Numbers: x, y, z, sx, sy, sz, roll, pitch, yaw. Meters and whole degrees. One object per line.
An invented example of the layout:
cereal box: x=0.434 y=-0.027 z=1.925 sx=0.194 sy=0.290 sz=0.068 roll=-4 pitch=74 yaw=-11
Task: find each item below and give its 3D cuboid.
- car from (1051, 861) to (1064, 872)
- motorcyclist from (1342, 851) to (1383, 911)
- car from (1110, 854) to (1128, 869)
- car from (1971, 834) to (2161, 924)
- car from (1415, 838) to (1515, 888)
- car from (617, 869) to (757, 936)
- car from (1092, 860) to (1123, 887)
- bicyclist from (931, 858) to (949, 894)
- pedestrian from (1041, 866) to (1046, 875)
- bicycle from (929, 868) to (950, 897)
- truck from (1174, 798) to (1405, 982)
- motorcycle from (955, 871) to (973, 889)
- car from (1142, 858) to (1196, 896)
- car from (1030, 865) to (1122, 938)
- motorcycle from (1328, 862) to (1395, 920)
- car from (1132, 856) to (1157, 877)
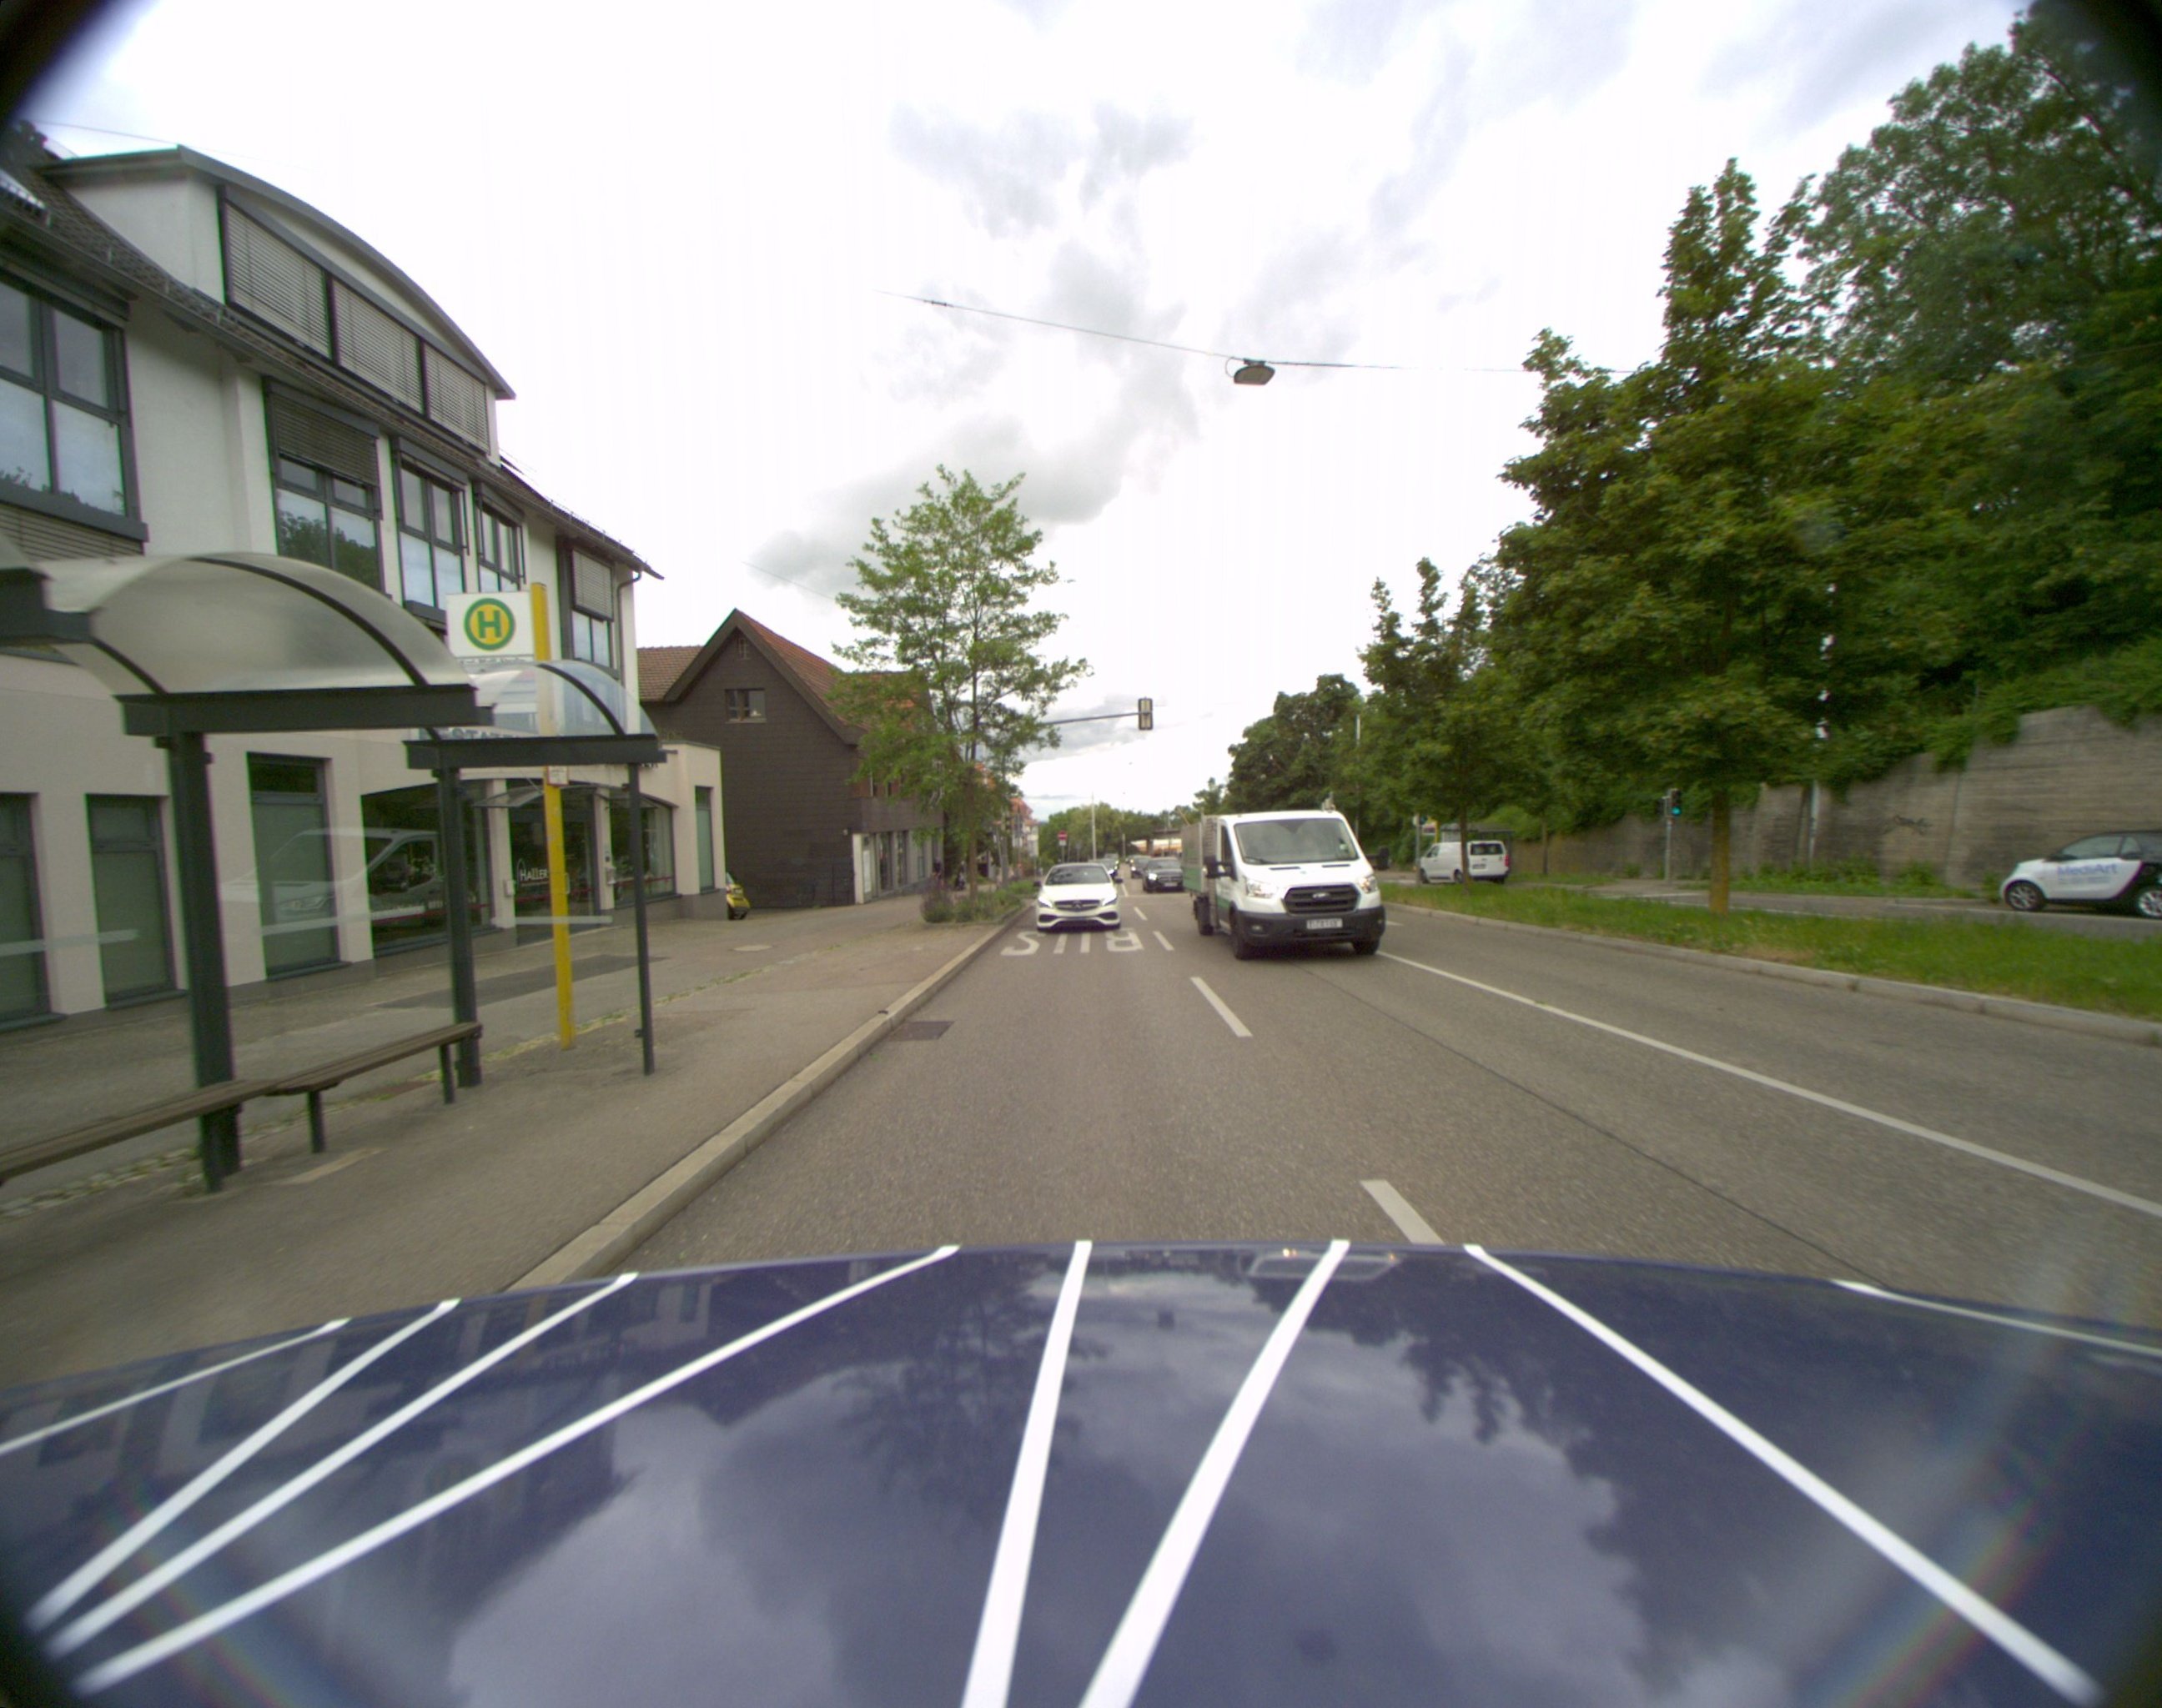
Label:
car: x=-3.860 y=1.978 z=124.534 sx=1.923 sy=1.641 sz=4.000 roll=-2 pitch=0 yaw=1
motorcyclist: x=6.773 y=0.645 z=18.294 sx=0.684 sy=1.410 sz=0.723 roll=-1 pitch=0 yaw=1
car: x=4.645 y=0.867 z=92.536 sx=1.776 sy=1.783 sz=4.003 roll=-1 pitch=0 yaw=8
car: x=19.089 y=0.407 z=13.966 sx=1.784 sy=1.489 sz=3.098 roll=-2 pitch=0 yaw=1
car: x=16.648 y=0.358 z=33.300 sx=1.943 sy=1.946 sz=5.022 roll=-2 pitch=0 yaw=2
car: x=-11.050 y=1.338 z=21.500 sx=2.999 sy=1.455 sz=1.666 roll=-7 pitch=-1 yaw=-8
car: x=1.666 y=1.180 z=46.601 sx=1.777 sy=1.532 sz=4.001 roll=-2 pitch=-1 yaw=3
bicyclist: x=-6.542 y=1.014 z=35.288 sx=0.539 sy=1.623 sz=0.947 roll=-2 pitch=0 yaw=2
pedestrian: x=-5.800 y=2.539 z=116.984 sx=0.713 sy=1.462 sz=0.695 roll=-2 pitch=0 yaw=0
bicycle: x=-6.537 y=1.304 z=35.190 sx=0.572 sy=1.254 sz=2.039 roll=-1 pitch=-1 yaw=1
truck: x=3.060 y=0.432 z=12.867 sx=2.080 sy=2.307 sz=6.331 roll=-1 pitch=1 yaw=-1
motorcycle: x=-7.098 y=1.565 z=46.207 sx=0.697 sy=1.045 sz=1.967 roll=0 pitch=0 yaw=3
car: x=3.745 y=0.964 z=32.963 sx=1.915 sy=1.472 sz=4.401 roll=-2 pitch=-1 yaw=2
car: x=-0.012 y=0.987 z=17.302 sx=1.817 sy=1.390 sz=4.001 roll=-2 pitch=0 yaw=3
motorcycle: x=6.645 y=0.842 z=18.112 sx=0.829 sy=1.291 sz=2.046 roll=-1 pitch=0 yaw=0
car: x=4.750 y=0.909 z=57.132 sx=1.777 sy=1.520 sz=4.001 roll=-1 pitch=0 yaw=4
